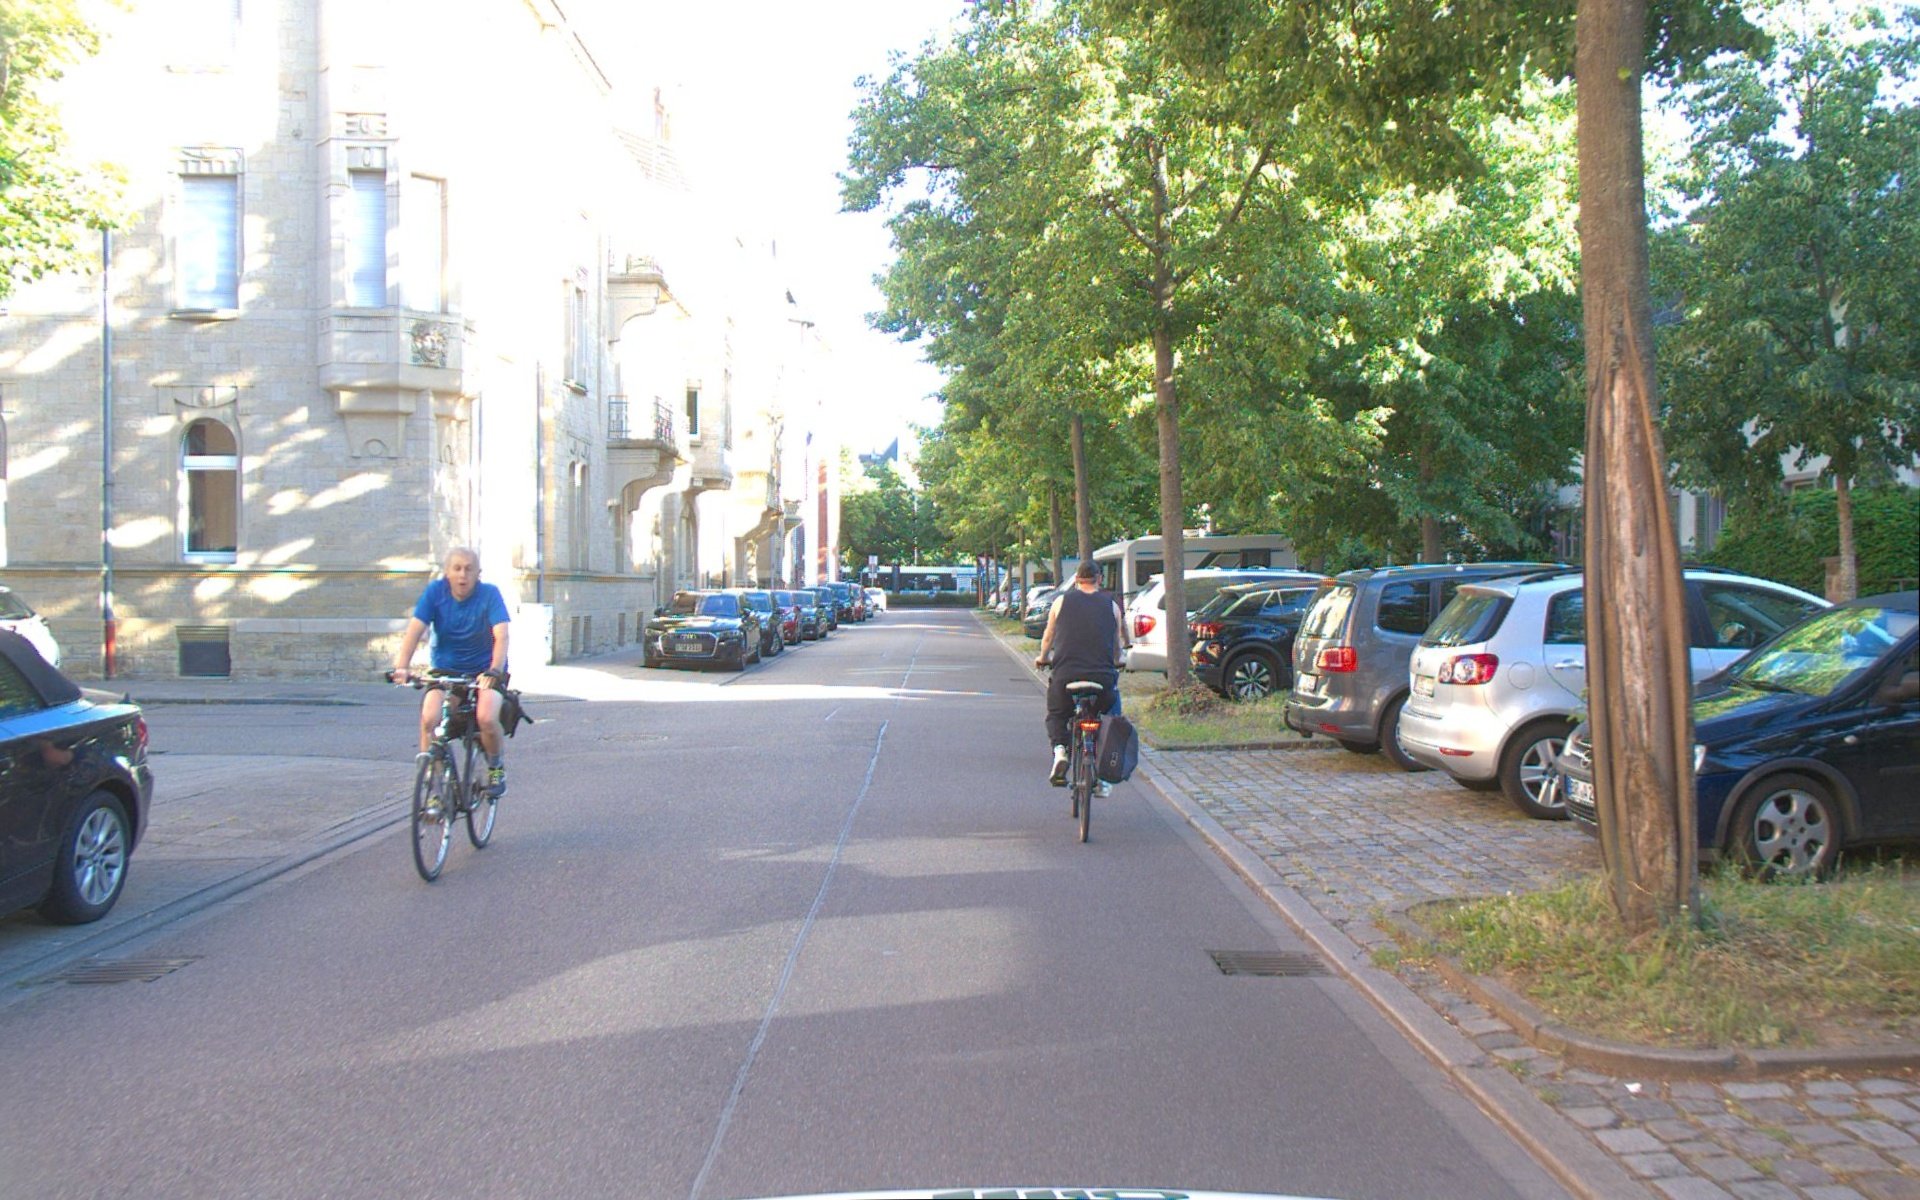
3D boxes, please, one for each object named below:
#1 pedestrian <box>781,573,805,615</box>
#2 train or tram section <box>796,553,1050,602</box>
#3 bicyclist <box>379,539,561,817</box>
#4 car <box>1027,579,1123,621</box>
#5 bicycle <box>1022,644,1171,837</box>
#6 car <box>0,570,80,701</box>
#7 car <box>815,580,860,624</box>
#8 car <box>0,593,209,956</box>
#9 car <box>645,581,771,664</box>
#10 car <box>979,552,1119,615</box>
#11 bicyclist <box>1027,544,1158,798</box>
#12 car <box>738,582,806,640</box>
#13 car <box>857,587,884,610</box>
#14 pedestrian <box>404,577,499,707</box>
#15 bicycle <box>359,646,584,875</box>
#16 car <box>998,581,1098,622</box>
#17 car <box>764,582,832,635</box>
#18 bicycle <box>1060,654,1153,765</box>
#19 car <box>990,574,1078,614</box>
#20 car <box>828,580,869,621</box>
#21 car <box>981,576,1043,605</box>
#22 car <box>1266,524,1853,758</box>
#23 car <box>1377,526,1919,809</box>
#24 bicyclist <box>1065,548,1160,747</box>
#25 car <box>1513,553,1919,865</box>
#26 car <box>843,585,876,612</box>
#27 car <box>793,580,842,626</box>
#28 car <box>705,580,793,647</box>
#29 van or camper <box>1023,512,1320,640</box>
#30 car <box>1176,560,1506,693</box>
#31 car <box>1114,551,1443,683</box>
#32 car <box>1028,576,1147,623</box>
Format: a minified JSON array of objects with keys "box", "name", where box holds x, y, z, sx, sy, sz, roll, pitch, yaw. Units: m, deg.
[{"box":[-7.253,-0.268,71.737,0.919,1.773,0.735,1,0,0],"name":"pedestrian"},{"box":[-3.160,-1.967,151.932,23.483,3.773,4.255,2,0,-23],"name":"train or tram section"},{"box":[-2.746,0.418,9.361,0.744,1.479,0.948,-1,0,-1],"name":"bicyclist"},{"box":[4.515,0.009,65.351,3.695,1.628,1.691,0,-1,1],"name":"car"},{"box":[0.846,0.861,10.773,0.722,1.072,1.955,2,0,-2],"name":"bicycle"},{"box":[-13.836,0.442,21.581,3.720,1.577,1.718,0,3,-3],"name":"car"},{"box":[-5.439,0.075,73.790,1.607,1.814,4.354,2,1,0],"name":"car"},{"box":[-4.681,0.699,6.337,1.602,1.435,4.333,3,0,-1],"name":"car"},{"box":[-4.908,0.399,32.788,1.774,1.451,4.897,3,0,-1],"name":"car"},{"box":[4.605,-0.842,86.166,7.005,3.030,2.463,-2,0,-4],"name":"car"},{"box":[0.855,0.449,10.861,0.715,1.574,0.884,2,-1,-2],"name":"bicyclist"},{"box":[-5.184,0.281,45.942,1.596,1.478,3.836,1,1,-3],"name":"car"},{"box":[-5.906,-0.111,109.452,1.551,1.399,4.131,2,1,0],"name":"car"},{"box":[-6.538,0.525,21.319,0.870,1.604,1.053,-1,1,-1],"name":"pedestrian"},{"box":[-2.746,0.856,9.521,0.742,1.127,1.907,-1,0,-1],"name":"bicycle"},{"box":[3.591,0.062,67.871,4.053,1.628,1.702,0,-1,1],"name":"car"},{"box":[-5.010,0.229,51.639,1.641,1.455,4.550,2,1,0],"name":"car"},{"box":[1.249,0.921,14.354,0.620,0.813,1.832,0,1,-1],"name":"bicycle"},{"box":[3.496,-0.308,78.962,4.001,1.678,1.640,-3,0,-3],"name":"car"},{"box":[-5.461,-0.009,81.113,1.654,1.857,4.273,2,1,0],"name":"car"},{"box":[3.413,-0.621,108.528,3.907,1.835,1.833,1,0,-3],"name":"car"},{"box":[5.148,0.314,14.513,4.452,1.662,1.810,-3,1,-7],"name":"car"},{"box":[5.225,0.399,11.512,4.184,1.662,1.691,-3,1,2],"name":"car"},{"box":[1.325,0.400,14.491,0.675,1.655,0.998,3,0,0],"name":"bicyclist"},{"box":[5.205,0.498,9.238,3.646,1.478,1.589,-3,1,-1],"name":"car"},{"box":[-5.589,-0.094,92.000,1.551,1.367,4.131,2,1,0],"name":"car"},{"box":[-5.209,0.093,60.829,1.564,1.514,2.736,4,1,-2],"name":"car"},{"box":[-4.878,0.305,38.621,1.662,1.479,4.026,0,0,-2],"name":"car"},{"box":[5.161,-0.596,41.260,7.000,2.693,2.465,-3,1,1],"name":"van or camper"},{"box":[5.020,0.321,22.159,3.985,1.502,1.694,-3,1,0],"name":"car"},{"box":[4.651,0.228,24.632,4.524,1.739,1.833,-2,1,1],"name":"car"},{"box":[4.503,-0.008,58.953,4.136,1.628,1.691,0,-1,1],"name":"car"}]
